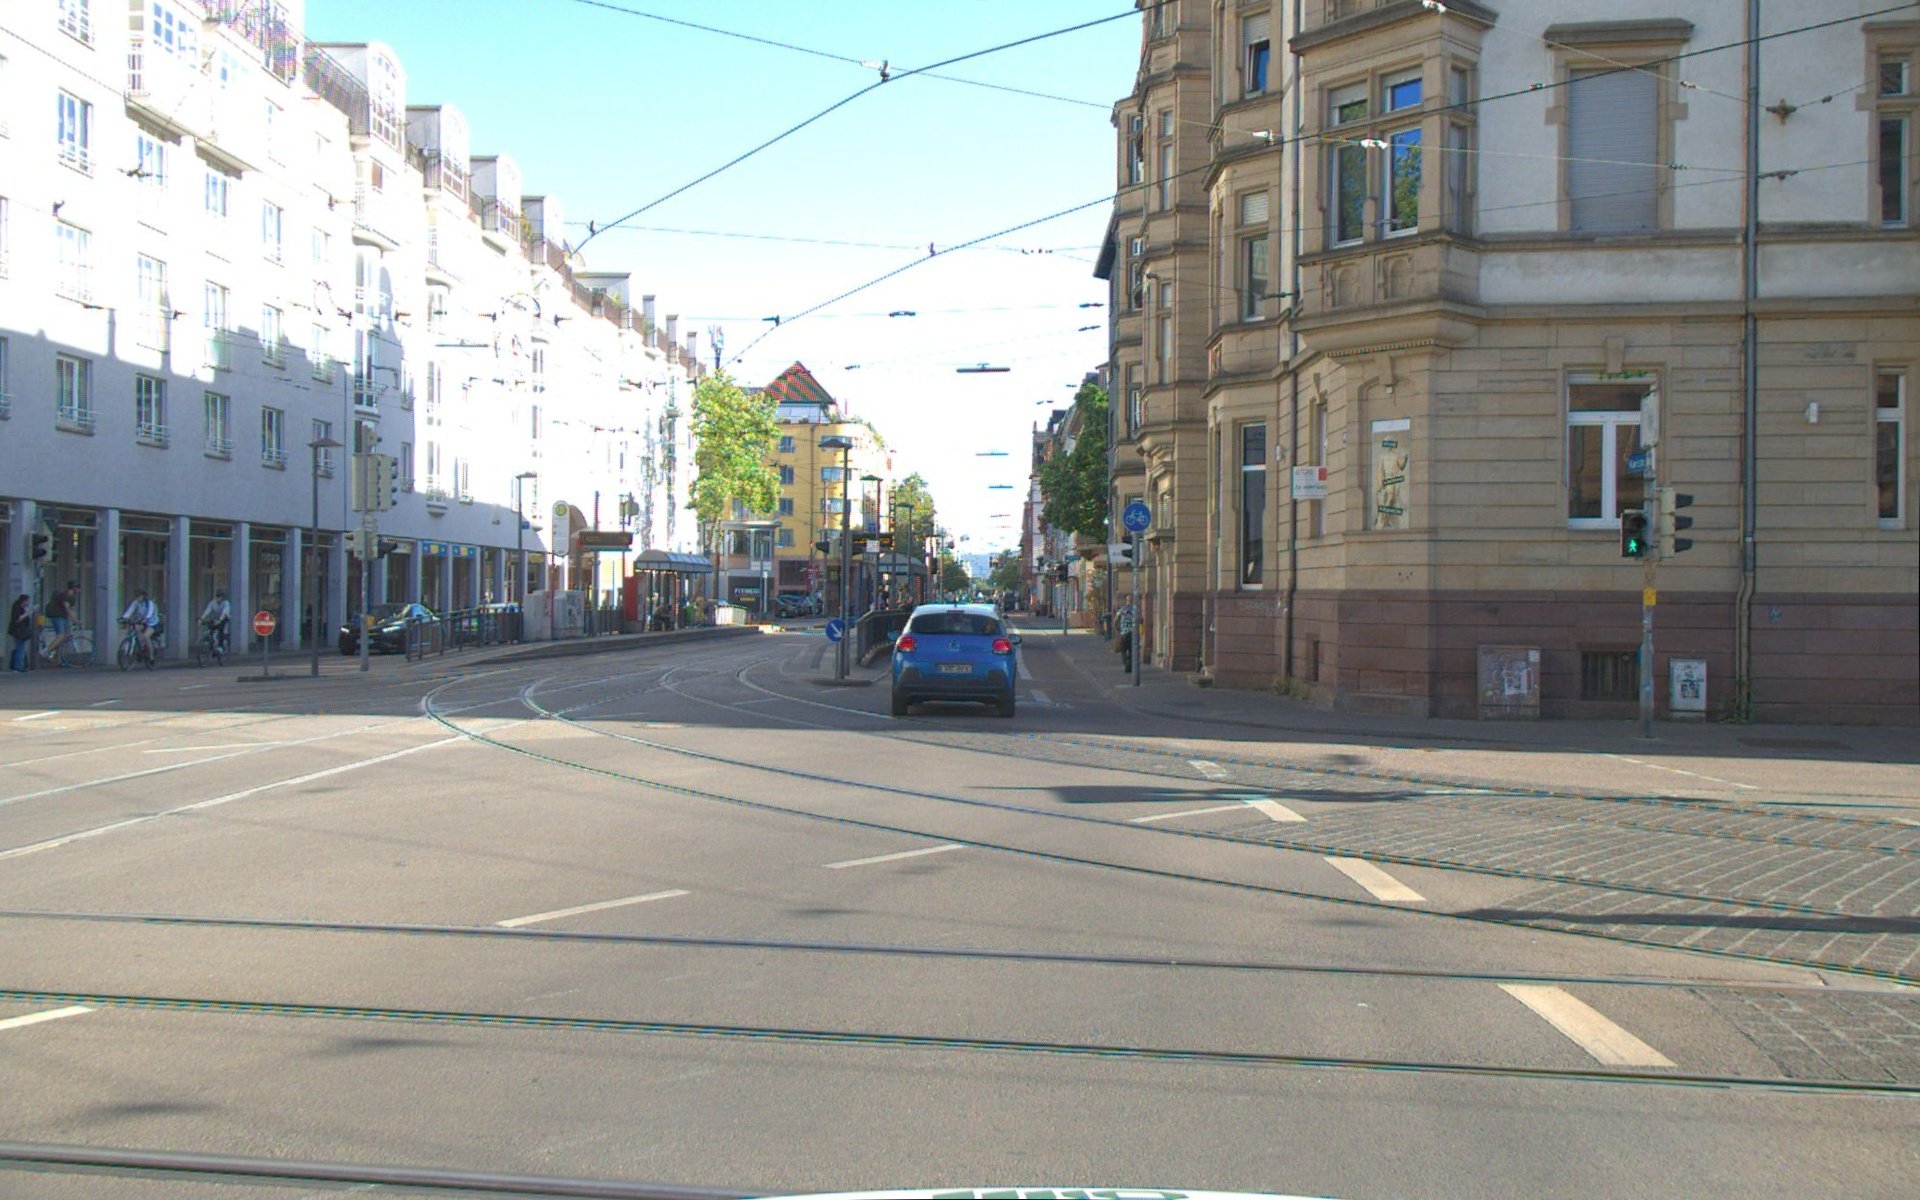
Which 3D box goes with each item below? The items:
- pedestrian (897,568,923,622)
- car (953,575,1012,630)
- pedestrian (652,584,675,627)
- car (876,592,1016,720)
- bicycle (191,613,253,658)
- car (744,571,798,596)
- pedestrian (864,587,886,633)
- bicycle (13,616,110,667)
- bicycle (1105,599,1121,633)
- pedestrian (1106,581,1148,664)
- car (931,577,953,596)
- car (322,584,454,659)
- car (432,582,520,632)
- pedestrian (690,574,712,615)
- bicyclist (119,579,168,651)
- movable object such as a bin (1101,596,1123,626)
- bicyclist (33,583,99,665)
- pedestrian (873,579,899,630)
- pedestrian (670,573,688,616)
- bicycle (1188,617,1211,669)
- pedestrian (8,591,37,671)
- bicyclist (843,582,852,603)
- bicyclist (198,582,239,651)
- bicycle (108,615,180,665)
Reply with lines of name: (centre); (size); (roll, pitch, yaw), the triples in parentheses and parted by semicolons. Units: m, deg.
pedestrian: (-1.636, -0.161, 54.244); (0.623, 1.727, 0.934); (3, 1, 9)
car: (0.821, 0.060, 58.824); (1.952, 1.773, 4.001); (3, 1, 1)
pedestrian: (-11.091, 0.201, 61.893); (0.716, 1.554, 0.743); (1, 2, 0)
car: (-0.132, 0.715, 23.216); (1.744, 1.476, 3.655); (3, 2, 1)
bicycle: (-17.653, 0.843, 39.585); (0.582, 0.989, 2.047); (1, 1, -1)
car: (-14.344, -1.264, 125.839); (3.907, 1.703, 1.957); (1, 2, -2)
pedestrian: (-3.002, 0.335, 58.439); (0.575, 1.589, 0.468); (2, 2, 37)
bicycle: (-19.402, 0.887, 35.755); (0.663, 0.997, 1.759); (2, 2, 29)
bicycle: (5.458, 0.555, 59.108); (0.450, 1.142, 1.774); (0, 2, 2)
pedestrian: (3.817, 0.503, 37.862); (0.764, 1.779, 1.093); (1, 3, -1)
car: (-1.749, -1.362, 163.371); (1.952, 1.773, 4.001); (3, 1, 1)
car: (-16.573, 0.570, 48.176); (2.181, 1.944, 4.610); (1, 2, 0)
car: (-16.727, 0.212, 57.370); (1.693, 1.541, 4.405); (1, 2, 0)
pedestrian: (-10.362, -0.236, 66.101); (0.716, 1.586, 0.743); (1, 2, 0)
bicyclist: (-17.497, 0.316, 35.464); (0.576, 1.514, 0.928); (1, 1, -1)
movable object such as a bin: (5.613, 0.401, 61.128); (0.733, 1.054, 0.754); (-3, 1, 2)
bicyclist: (-19.366, 0.510, 35.831); (0.708, 1.725, 1.027); (2, 2, 29)
pedestrian: (-2.649, 0.152, 59.230); (0.705, 1.808, 0.563); (2, 2, 37)
pedestrian: (-13.774, -0.268, 81.009); (0.655, 2.048, 0.708); (3, 1, 3)
bicycle: (5.317, 0.950, 36.733); (0.250, 1.070, 1.769); (2, 1, 1)
pedestrian: (-19.041, 0.619, 33.585); (0.437, 1.560, 0.675); (-1, 4, -35)
bicyclist: (-8.879, -0.612, 130.610); (0.658, 1.584, 0.778); (1, 2, 2)
bicyclist: (-17.659, 0.389, 39.395); (0.576, 1.613, 0.896); (1, 1, -1)
bicycle: (-17.487, 0.843, 35.487); (0.582, 0.989, 2.012); (1, 1, -1)
